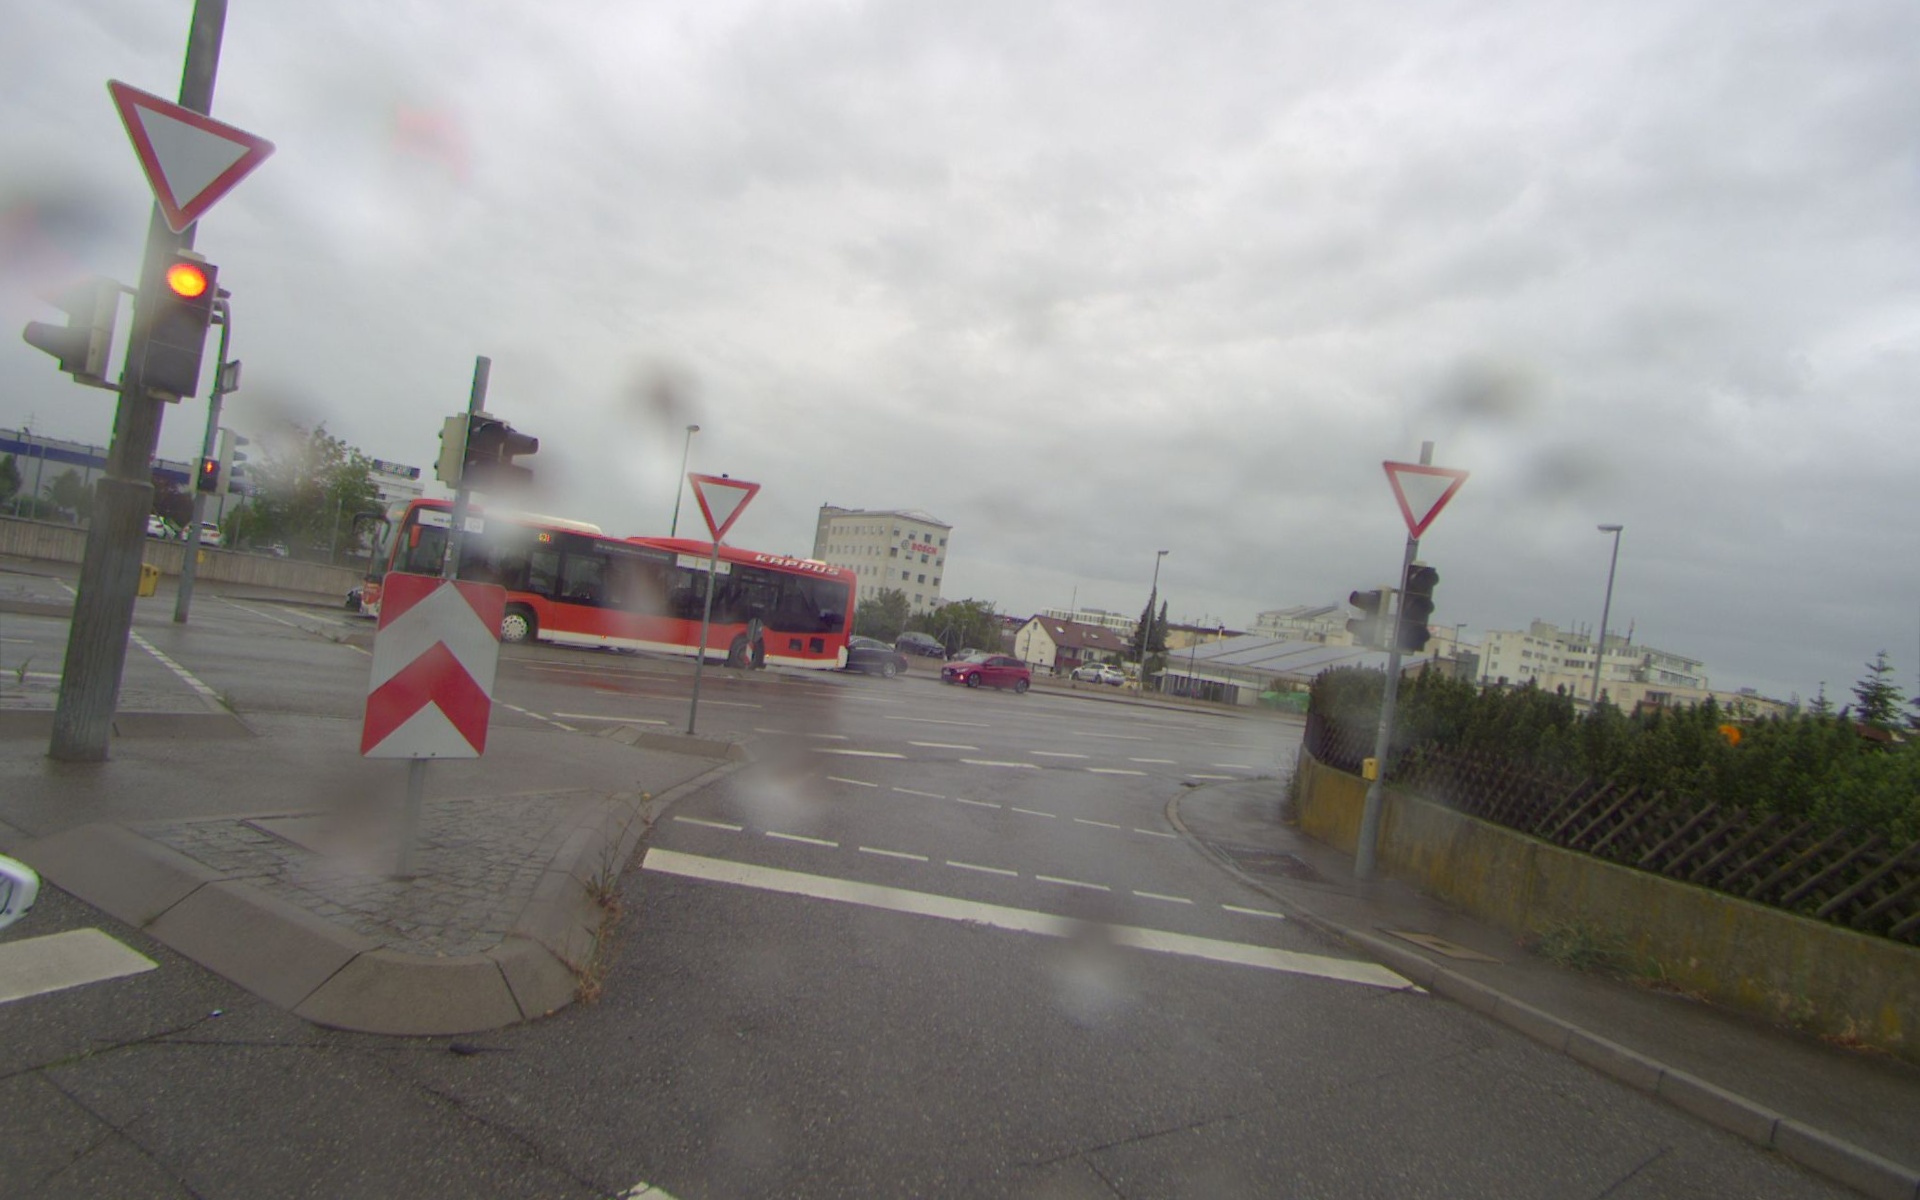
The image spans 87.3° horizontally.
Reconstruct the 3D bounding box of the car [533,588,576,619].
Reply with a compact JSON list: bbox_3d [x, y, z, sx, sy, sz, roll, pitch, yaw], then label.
[{"bbox_3d":[-31.919,0.283,79.132,1.983,2.037,3.962,8,-2,-36],"label":"car"}]

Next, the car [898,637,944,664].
[{"bbox_3d":[-3.188,4.051,81.450,1.980,1.636,3.970,9,-2,-30],"label":"car"}]

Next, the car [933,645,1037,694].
[{"bbox_3d":[1.064,2.902,41.978,3.948,1.525,1.853,9,-2,-36],"label":"car"}]

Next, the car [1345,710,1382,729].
[{"bbox_3d":[41.153,12.221,102.560,3.616,1.436,1.720,10,-2,-36],"label":"car"}]

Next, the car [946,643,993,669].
[{"bbox_3d":[0.780,4.666,83.738,1.980,1.636,3.970,9,-2,-30],"label":"car"}]

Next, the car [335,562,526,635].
[{"bbox_3d":[-14.808,-0.021,28.289,4.367,1.370,1.804,10,-3,-42],"label":"car"}]

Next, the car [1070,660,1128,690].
[{"bbox_3d":[9.655,5.204,70.118,1.976,1.561,3.977,9,-2,-25],"label":"car"}]

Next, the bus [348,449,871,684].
[{"bbox_3d":[-8.260,-0.444,25.921,12.223,3.614,2.952,12,-4,-41],"label":"bus"}]

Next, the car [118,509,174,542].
[{"bbox_3d":[-45.613,-4.122,56.451,1.805,1.450,4.071,8,-2,-32],"label":"car"}]

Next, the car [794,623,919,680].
[{"bbox_3d":[-3.894,1.970,38.188,4.367,1.555,1.804,10,-3,-42],"label":"car"}]

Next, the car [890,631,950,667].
[{"bbox_3d":[-2.499,2.975,61.689,1.912,1.684,3.869,9,-2,-29],"label":"car"}]

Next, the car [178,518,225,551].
[{"bbox_3d":[-43.826,-3.769,58.219,1.847,1.543,4.066,8,-2,-35],"label":"car"}]

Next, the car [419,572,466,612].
[{"bbox_3d":[-31.005,-0.496,60.252,1.734,2.037,3.786,8,-2,-37],"label":"car"}]
